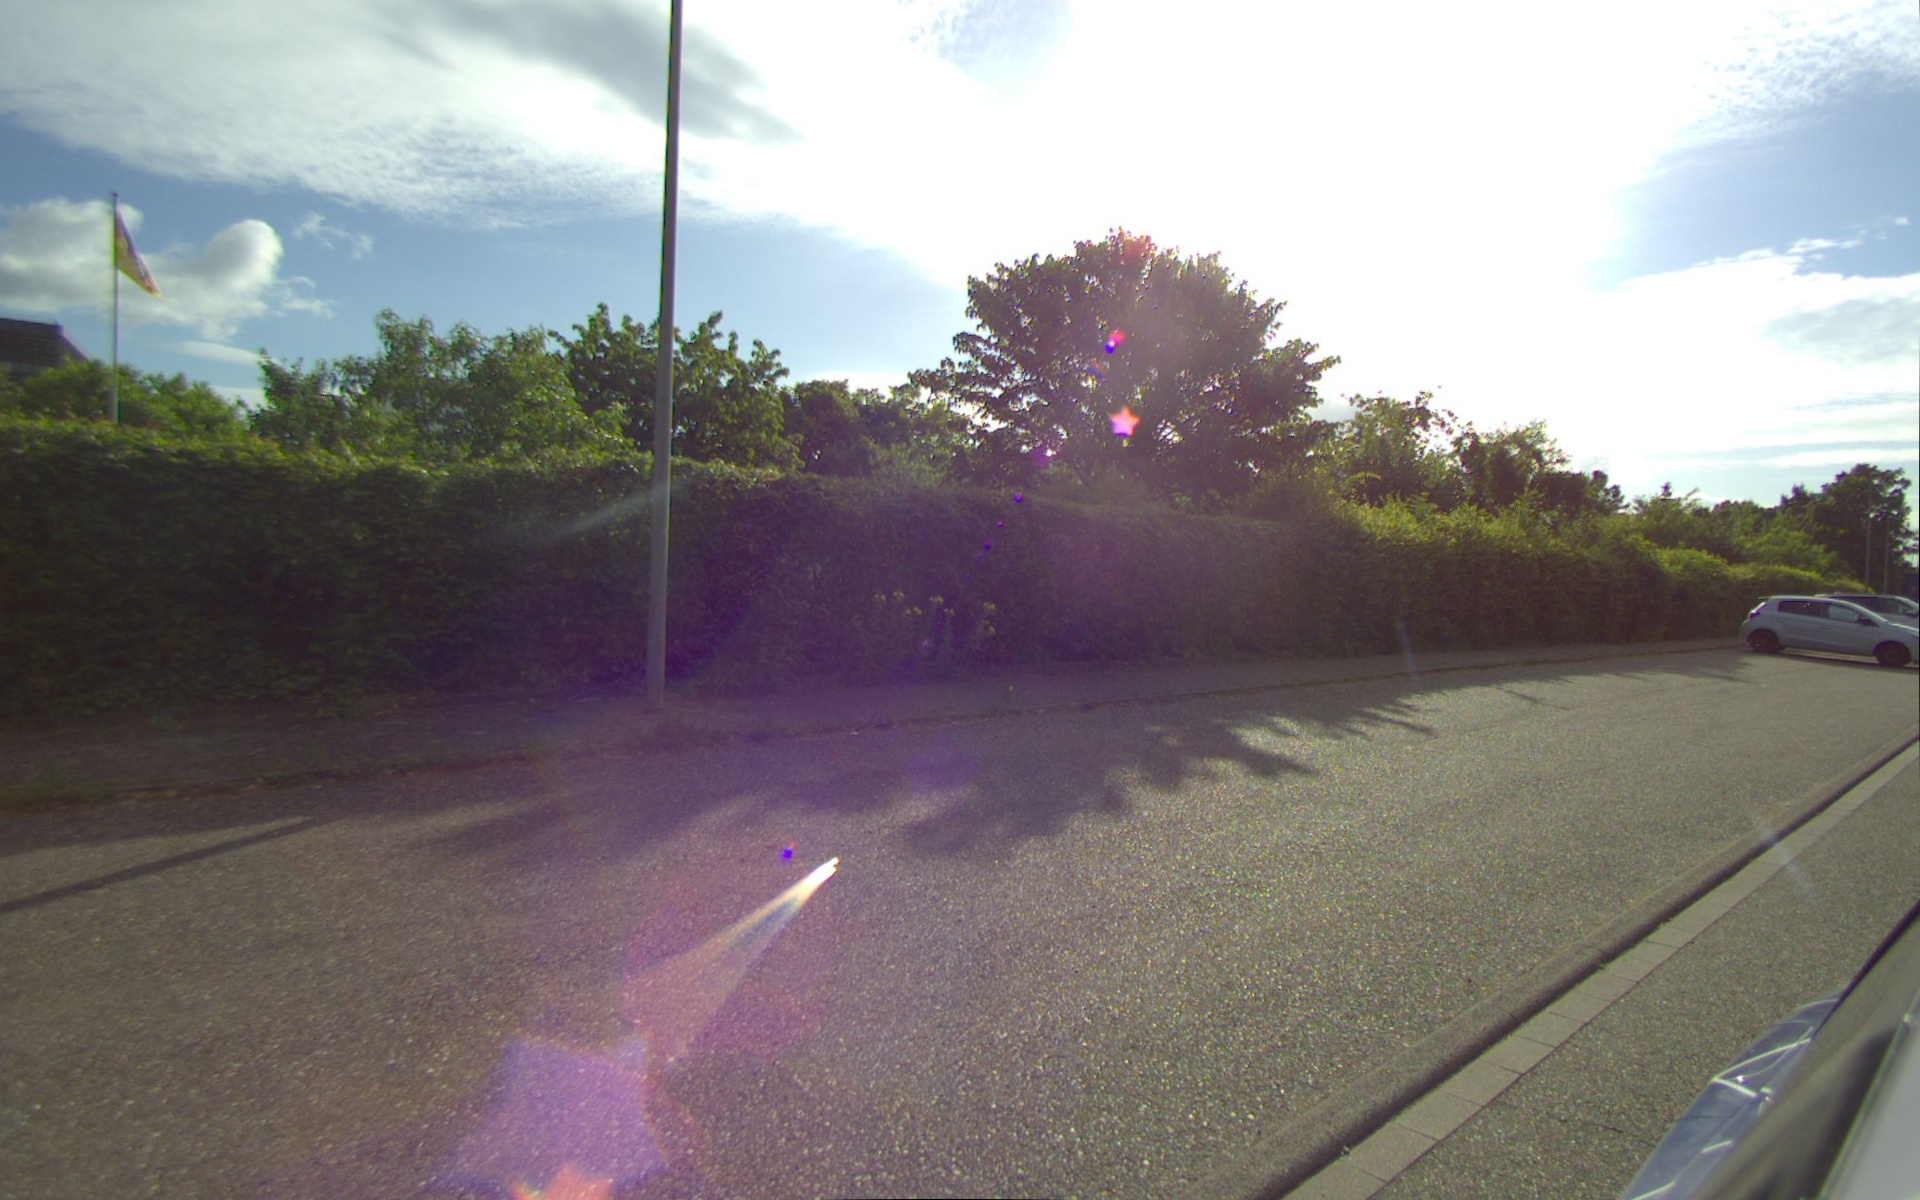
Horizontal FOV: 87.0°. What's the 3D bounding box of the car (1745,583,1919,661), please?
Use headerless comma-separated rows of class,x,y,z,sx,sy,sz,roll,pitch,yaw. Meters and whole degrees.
car,21.971,0.540,24.891,1.662,1.507,3.867,2,4,-41

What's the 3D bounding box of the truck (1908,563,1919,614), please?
truck,78.130,-0.772,81.016,2.596,4.004,6.189,8,5,41

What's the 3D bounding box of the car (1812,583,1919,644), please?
car,29.960,0.470,31.766,1.732,1.720,4.600,1,4,-40
